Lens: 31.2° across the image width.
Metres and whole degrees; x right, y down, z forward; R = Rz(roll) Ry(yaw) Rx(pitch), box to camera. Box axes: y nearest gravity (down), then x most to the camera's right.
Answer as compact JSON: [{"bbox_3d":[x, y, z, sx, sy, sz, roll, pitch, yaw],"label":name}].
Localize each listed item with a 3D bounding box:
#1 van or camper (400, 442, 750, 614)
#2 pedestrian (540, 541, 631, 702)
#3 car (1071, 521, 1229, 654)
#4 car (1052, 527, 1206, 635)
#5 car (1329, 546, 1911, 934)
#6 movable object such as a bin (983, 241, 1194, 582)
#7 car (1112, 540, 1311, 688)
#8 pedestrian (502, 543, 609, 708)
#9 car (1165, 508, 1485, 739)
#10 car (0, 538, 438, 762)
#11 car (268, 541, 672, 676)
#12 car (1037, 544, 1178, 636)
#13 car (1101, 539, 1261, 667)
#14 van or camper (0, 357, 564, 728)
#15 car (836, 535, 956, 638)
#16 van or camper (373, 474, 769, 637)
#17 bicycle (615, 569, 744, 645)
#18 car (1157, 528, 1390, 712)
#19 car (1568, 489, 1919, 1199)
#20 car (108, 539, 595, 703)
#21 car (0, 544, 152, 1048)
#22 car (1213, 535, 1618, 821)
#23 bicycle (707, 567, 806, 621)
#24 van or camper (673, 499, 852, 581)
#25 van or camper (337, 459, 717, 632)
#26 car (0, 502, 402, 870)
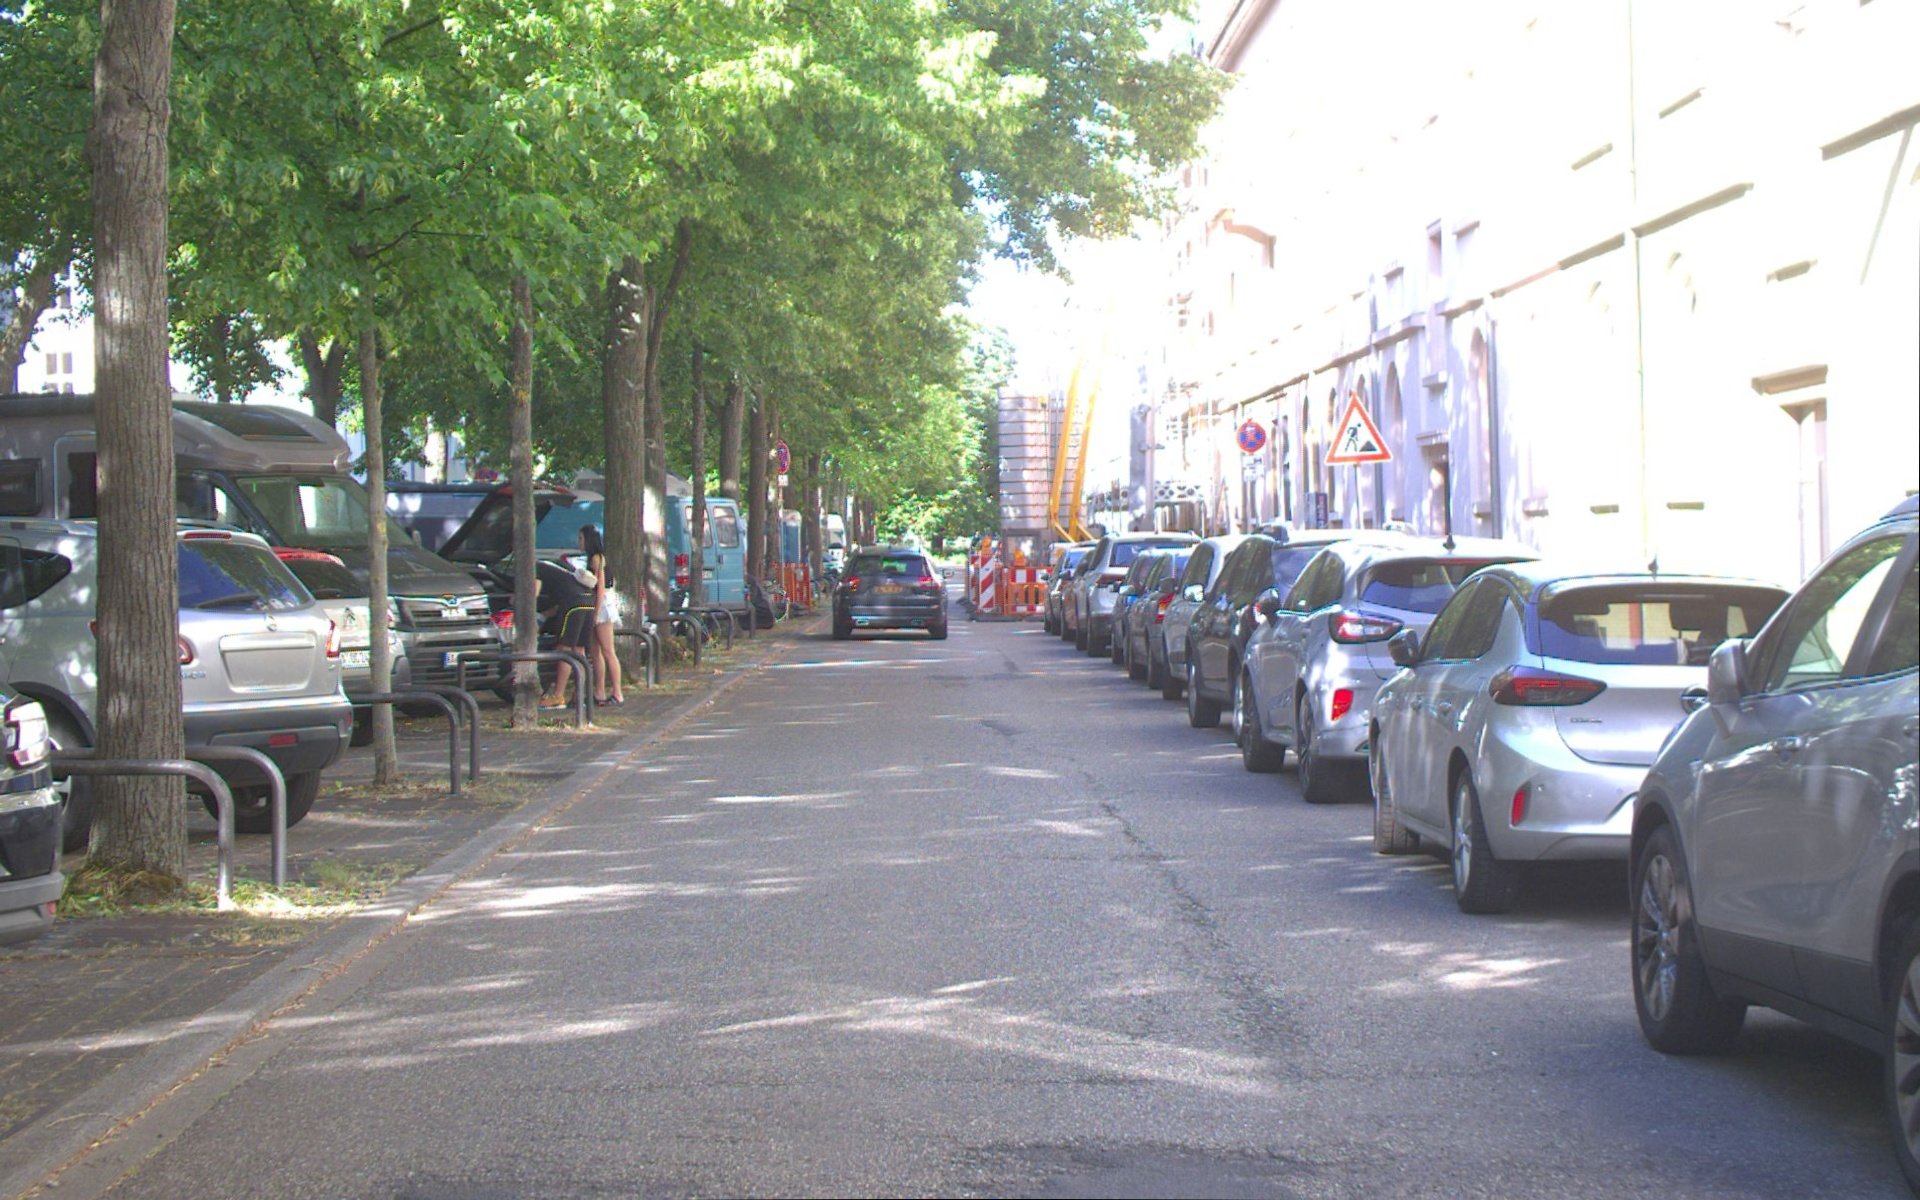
[{"bbox_3d":[-7.774,-1.429,69.171,6.666,3.229,2.492,-1,2,28],"label":"van or camper"},{"bbox_3d":[-3.432,0.194,31.539,0.615,1.451,0.519,-1,1,23],"label":"pedestrian"},{"bbox_3d":[2.517,-0.216,46.593,1.816,1.668,4.674,-1,1,0],"label":"car"},{"bbox_3d":[2.521,-0.318,52.164,1.790,1.518,3.965,-1,1,-5],"label":"car"},{"bbox_3d":[2.781,0.510,15.393,1.722,1.427,4.158,-1,1,-1],"label":"car"},{"bbox_3d":[2.609,-3.760,69.953,3.485,6.736,2.364,0,1,32],"label":"movable object such as a bin"},{"bbox_3d":[2.595,0.106,36.279,1.630,1.408,4.089,-1,1,-2],"label":"car"},{"bbox_3d":[-3.642,0.226,30.989,0.710,1.451,0.596,-1,1,23],"label":"pedestrian"},{"bbox_3d":[2.701,0.117,26.339,1.722,1.591,4.159,-1,1,-4],"label":"car"},{"bbox_3d":[-6.009,0.365,25.311,3.993,1.502,1.755,-1,2,28],"label":"car"},{"bbox_3d":[-5.622,0.094,39.235,4.482,1.438,1.729,0,2,32],"label":"car"},{"bbox_3d":[2.394,-0.197,56.717,1.993,1.404,4.501,-1,1,-2],"label":"car"},{"bbox_3d":[2.605,0.000,41.277,1.617,1.408,3.788,-1,1,0],"label":"car"},{"bbox_3d":[-7.153,-0.432,29.724,7.236,2.919,2.311,-1,1,27],"label":"van or camper"},{"bbox_3d":[-1.032,-0.239,54.754,1.797,1.498,3.586,-2,1,-2],"label":"car"},{"bbox_3d":[-5.865,-0.662,51.828,5.504,2.267,2.218,-1,1,24],"label":"van or camper"},{"bbox_3d":[-3.931,0.091,48.164,1.719,1.002,0.511,-2,1,-30],"label":"bicycle"},{"bbox_3d":[2.780,0.134,31.164,1.630,1.529,3.593,-1,1,-2],"label":"car"},{"bbox_3d":[2.924,0.544,8.940,1.722,1.680,4.159,-1,1,-3],"label":"car"},{"bbox_3d":[-5.712,0.195,32.191,4.321,1.419,1.673,-1,1,26],"label":"car"},{"bbox_3d":[-4.791,0.586,10.899,4.417,1.457,1.713,0,1,32],"label":"car"},{"bbox_3d":[2.675,0.390,21.091,1.722,1.523,4.159,-1,1,-3],"label":"car"},{"bbox_3d":[-3.929,-0.113,66.481,1.899,1.003,0.430,-1,1,23],"label":"bicycle"},{"bbox_3d":[-6.357,-1.925,110.615,5.342,2.466,2.290,-1,2,32],"label":"van or camper"},{"bbox_3d":[-7.080,-0.884,56.072,5.877,2.628,2.252,-1,2,29],"label":"van or camper"},{"bbox_3d":[-5.060,0.390,17.500,4.140,1.673,1.756,-1,1,29],"label":"car"}]
